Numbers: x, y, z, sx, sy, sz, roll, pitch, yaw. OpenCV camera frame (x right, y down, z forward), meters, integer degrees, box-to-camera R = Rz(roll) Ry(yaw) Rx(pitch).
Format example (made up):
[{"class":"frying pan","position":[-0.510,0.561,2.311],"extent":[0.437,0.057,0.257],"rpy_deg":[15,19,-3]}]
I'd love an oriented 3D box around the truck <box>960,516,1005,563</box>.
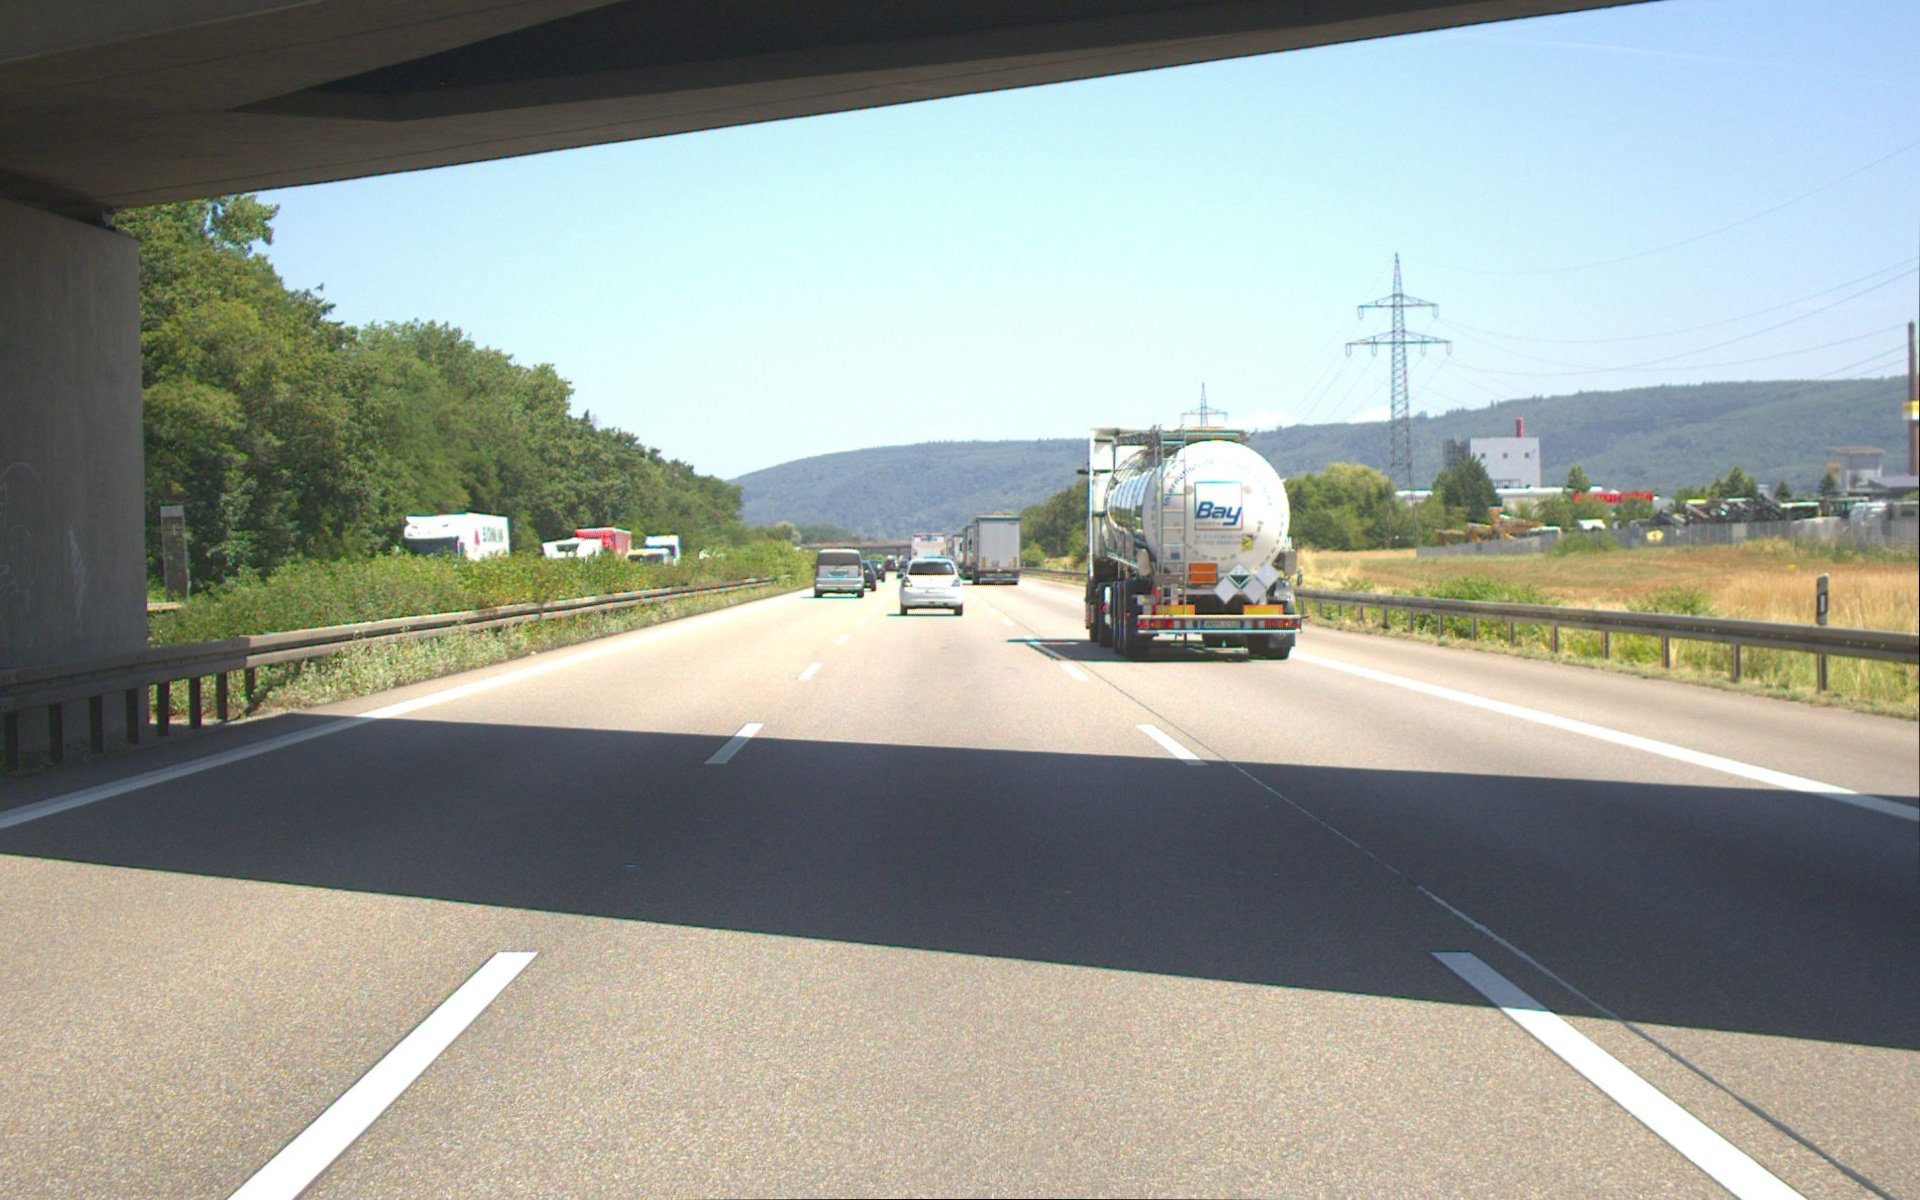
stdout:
[{"class":"truck","position":[1.696,-4.605,261.579],"extent":[3.097,3.463,11.543],"rpy_deg":[1,1,-1]}]

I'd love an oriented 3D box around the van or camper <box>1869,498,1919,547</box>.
[{"class":"van or camper","position":[51.934,-4.160,183.039],"extent":[6.343,2.544,2.438],"rpy_deg":[-1,1,1]}]

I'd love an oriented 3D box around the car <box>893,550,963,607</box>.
[{"class":"car","position":[-0.848,-0.604,92.494],"extent":[1.806,1.463,4.000],"rpy_deg":[1,1,0]}]

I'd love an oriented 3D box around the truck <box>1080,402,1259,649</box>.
[{"class":"truck","position":[3.580,-1.282,60.223],"extent":[2.573,4.058,6.393],"rpy_deg":[1,1,-1]}]

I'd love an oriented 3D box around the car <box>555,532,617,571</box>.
[{"class":"car","position":[-17.476,-2.265,160.739],"extent":[2.302,1.774,5.424],"rpy_deg":[1,1,0]}]

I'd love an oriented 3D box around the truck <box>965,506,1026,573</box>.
[{"class":"truck","position":[2.091,-3.630,206.033],"extent":[3.265,3.844,11.632],"rpy_deg":[1,1,-1]}]

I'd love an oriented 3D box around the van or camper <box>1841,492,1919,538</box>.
[{"class":"van or camper","position":[51.880,-4.696,189.261],"extent":[6.117,2.393,2.602],"rpy_deg":[-1,1,1]}]

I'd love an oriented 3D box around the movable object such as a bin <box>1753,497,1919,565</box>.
[{"class":"movable object such as a bin","position":[52.931,-4.132,206.733],"extent":[9.719,3.677,3.418],"rpy_deg":[-2,0,6]}]

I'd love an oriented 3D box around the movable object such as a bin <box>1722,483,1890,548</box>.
[{"class":"movable object such as a bin","position":[53.218,-5.299,216.321],"extent":[9.717,3.676,2.976],"rpy_deg":[-2,1,2]}]

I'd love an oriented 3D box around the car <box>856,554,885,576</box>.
[{"class":"car","position":[-5.932,-2.330,229.190],"extent":[1.835,1.382,4.000],"rpy_deg":[1,1,0]}]

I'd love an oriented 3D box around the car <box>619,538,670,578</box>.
[{"class":"car","position":[-14.541,-1.966,158.582],"extent":[2.092,1.774,5.462],"rpy_deg":[1,1,-3]}]

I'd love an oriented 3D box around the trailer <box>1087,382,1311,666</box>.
[{"class":"trailer","position":[3.658,-1.189,55.186],"extent":[2.580,4.060,11.104],"rpy_deg":[1,1,-1]}]

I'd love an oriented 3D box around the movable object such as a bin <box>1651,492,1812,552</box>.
[{"class":"movable object such as a bin","position":[52.525,-5.307,234.206],"extent":[10.253,3.677,2.394],"rpy_deg":[-2,0,0]}]

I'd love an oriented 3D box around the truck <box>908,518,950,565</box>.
[{"class":"truck","position":[-2.380,-4.485,263.861],"extent":[3.097,3.463,11.543],"rpy_deg":[1,1,-1]}]

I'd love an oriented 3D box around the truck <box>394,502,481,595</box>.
[{"class":"truck","position":[-21.500,-2.142,141.660],"extent":[2.795,3.708,5.117],"rpy_deg":[1,1,0]}]

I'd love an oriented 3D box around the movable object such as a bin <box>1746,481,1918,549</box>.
[{"class":"movable object such as a bin","position":[53.294,-5.179,210.297],"extent":[9.718,3.677,2.976],"rpy_deg":[-2,0,6]}]

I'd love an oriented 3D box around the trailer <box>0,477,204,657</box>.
[{"class":"trailer","position":[-21.056,-0.846,82.259],"extent":[2.612,3.871,15.583],"rpy_deg":[1,1,-1]}]

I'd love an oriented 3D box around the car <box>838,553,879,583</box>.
[{"class":"car","position":[-4.775,-1.517,162.039],"extent":[1.835,1.382,4.000],"rpy_deg":[1,1,0]}]

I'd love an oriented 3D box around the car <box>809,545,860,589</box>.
[{"class":"car","position":[-4.887,-1.296,134.132],"extent":[1.852,1.627,4.000],"rpy_deg":[1,1,0]}]
